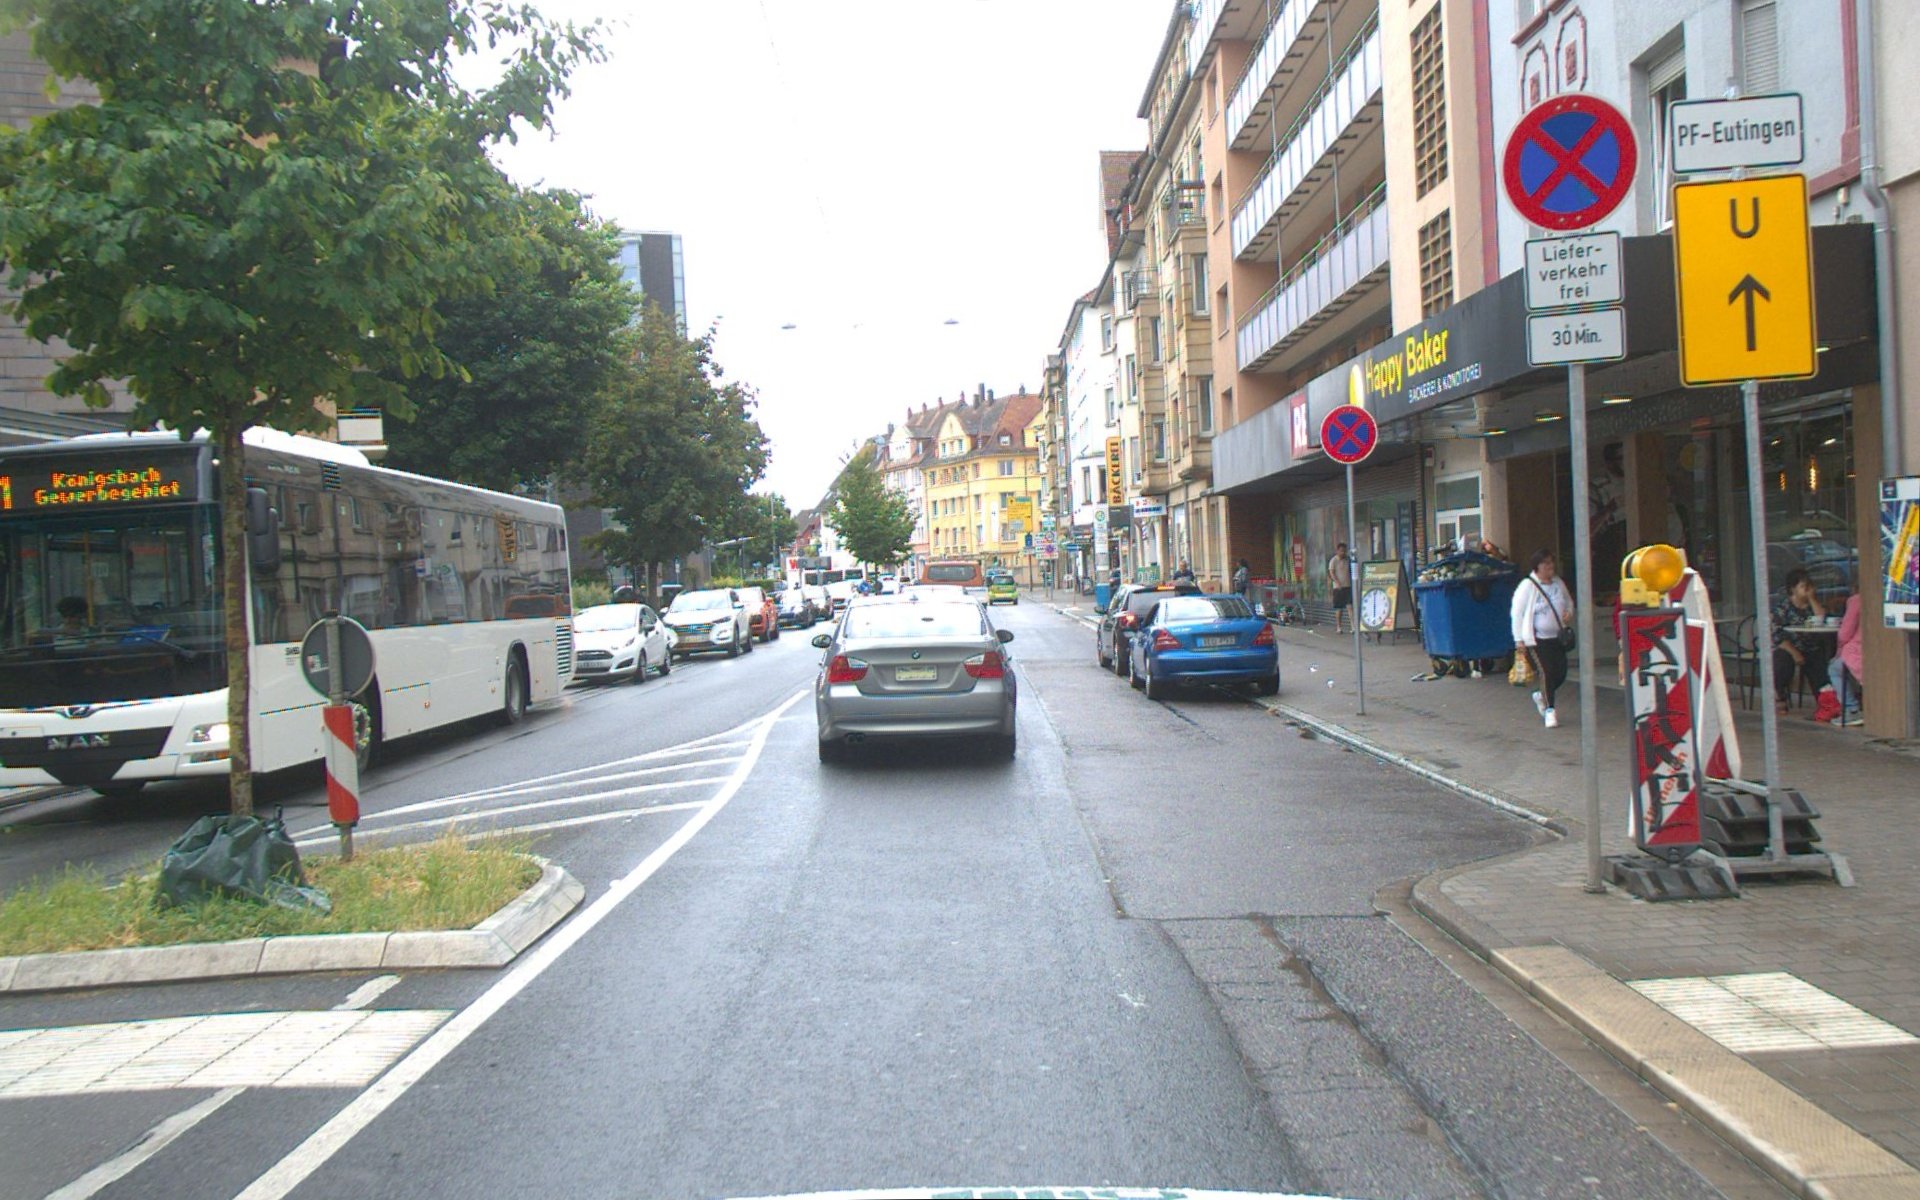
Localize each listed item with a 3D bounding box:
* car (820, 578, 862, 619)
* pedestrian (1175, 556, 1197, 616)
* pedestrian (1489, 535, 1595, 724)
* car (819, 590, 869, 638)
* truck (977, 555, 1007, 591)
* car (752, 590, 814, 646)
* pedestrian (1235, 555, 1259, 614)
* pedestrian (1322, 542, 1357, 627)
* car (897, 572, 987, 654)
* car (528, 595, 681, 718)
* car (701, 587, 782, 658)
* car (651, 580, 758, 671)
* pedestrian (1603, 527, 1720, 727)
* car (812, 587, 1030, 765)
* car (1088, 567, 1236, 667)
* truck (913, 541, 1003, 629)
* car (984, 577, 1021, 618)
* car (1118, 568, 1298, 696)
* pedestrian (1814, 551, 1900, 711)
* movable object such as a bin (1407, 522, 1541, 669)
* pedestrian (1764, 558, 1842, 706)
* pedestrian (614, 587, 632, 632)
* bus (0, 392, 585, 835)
[{"bbox_3d":[-6.237,-0.069,87.264,1.953,2.049,3.999,0,-1,-1],"label":"car"},{"bbox_3d":[5.445,-0.334,39.837,0.511,1.446,0.430,0,-2,9],"label":"pedestrian"},{"bbox_3d":[5.344,0.272,15.229,0.733,1.690,0.837,0,-2,6],"label":"pedestrian"},{"bbox_3d":[-5.073,0.644,72.738,1.953,2.049,3.999,0,-1,-1],"label":"car"},{"bbox_3d":[2.427,-2.051,127.335,2.171,2.589,4.779,0,-1,-1],"label":"truck"},{"bbox_3d":[-6.677,0.712,62.681,1.953,2.049,3.999,0,-1,-1],"label":"car"},{"bbox_3d":[7.249,-0.389,41.797,0.552,1.446,0.797,0,-2,13],"label":"pedestrian"},{"bbox_3d":[7.672,-0.296,33.444,0.602,1.690,0.755,0,-2,6],"label":"pedestrian"},{"bbox_3d":[-0.369,0.269,30.708,1.569,1.445,3.286,0,-1,-2],"label":"car"},{"bbox_3d":[-6.658,1.053,31.387,1.953,2.048,3.999,-4,-1,-1],"label":"car"},{"bbox_3d":[-6.540,0.692,49.965,1.953,2.049,3.999,0,-1,-1],"label":"car"},{"bbox_3d":[-6.102,0.641,39.905,1.953,2.049,3.999,1,-1,-1],"label":"car"},{"bbox_3d":[6.101,0.237,14.423,0.734,1.690,0.755,0,-2,6],"label":"pedestrian"},{"bbox_3d":[-0.306,0.599,14.864,1.720,1.386,3.165,-1,0,0],"label":"car"},{"bbox_3d":[3.328,0.288,27.967,1.953,1.545,3.999,-1,-1,-1],"label":"car"},{"bbox_3d":[-0.115,-0.335,43.151,2.171,2.154,4.650,1,-1,-2],"label":"truck"},{"bbox_3d":[2.200,-0.117,86.159,1.670,2.049,3.998,0,-1,-2],"label":"car"},{"bbox_3d":[3.219,0.385,22.230,1.772,1.545,3.999,-1,0,-1],"label":"car"},{"bbox_3d":[7.114,0.241,13.125,0.404,1.223,0.357,-5,1,3],"label":"pedestrian"},{"bbox_3d":[6.477,-0.038,20.928,1.100,1.732,1.433,-4,-1,-2],"label":"movable object such as a bin"},{"bbox_3d":[7.224,0.267,14.182,0.404,1.223,0.357,-5,1,3],"label":"pedestrian"},{"bbox_3d":[-15.359,0.430,75.301,0.783,2.049,0.534,0,-2,-13],"label":"pedestrian"},{"bbox_3d":[-6.906,0.168,18.550,2.627,3.256,11.953,-3,0,-1],"label":"bus"}]
